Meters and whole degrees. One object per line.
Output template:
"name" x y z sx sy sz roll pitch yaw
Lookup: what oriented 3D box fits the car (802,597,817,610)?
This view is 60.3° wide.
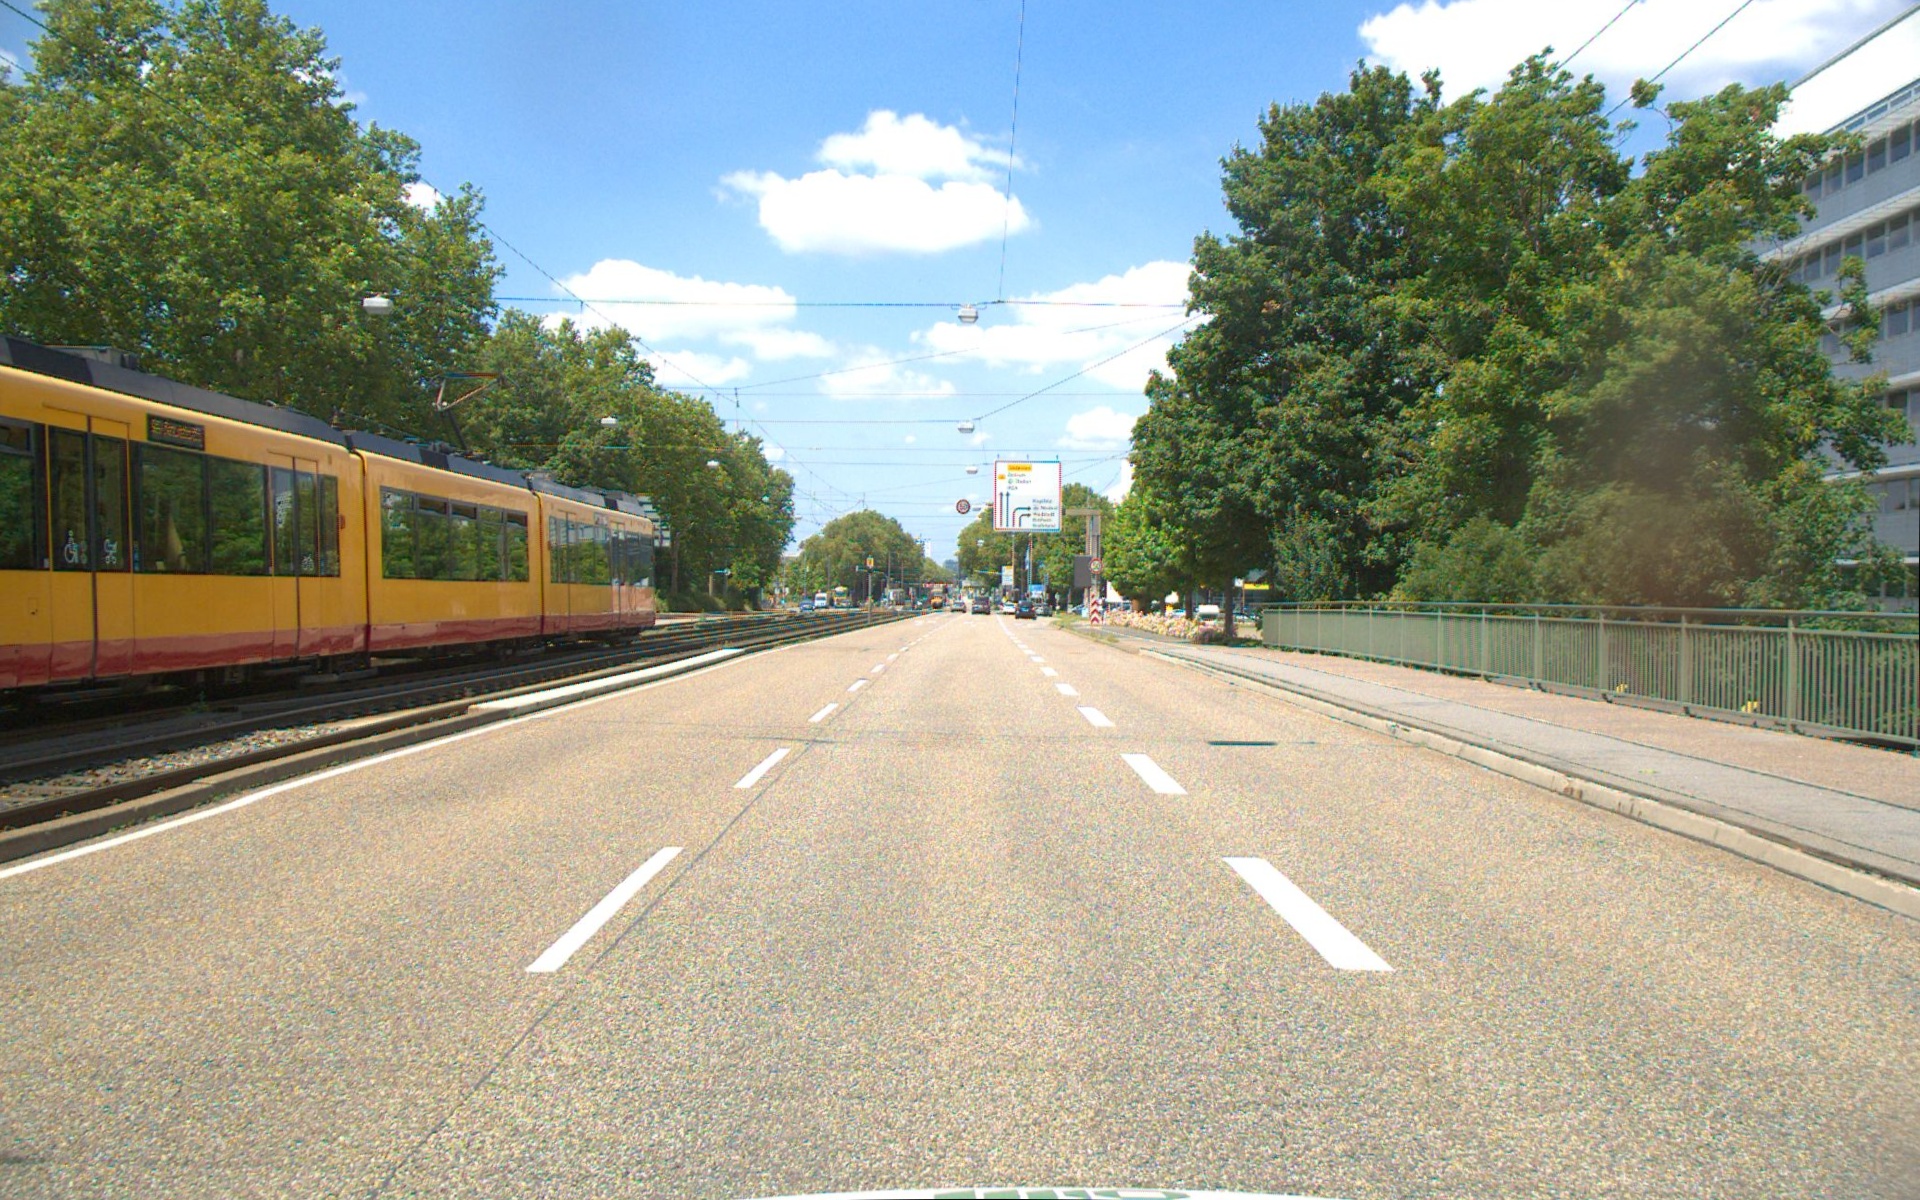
"car" -18.873 0.462 207.521 1.611 1.577 4.215 2 0 -1

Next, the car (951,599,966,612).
"car" -0.225 0.654 211.133 1.805 1.577 3.775 3 0 -2

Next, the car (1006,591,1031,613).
"car" 4.981 0.163 141.042 1.861 1.837 3.976 2 0 -1

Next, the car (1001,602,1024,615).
"car" 6.738 1.108 212.890 1.651 1.577 3.982 2 0 23

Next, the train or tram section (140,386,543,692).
"train or tram section" -9.828 -0.870 27.964 2.976 4.221 10.233 0 0 0

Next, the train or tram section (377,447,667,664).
"train or tram section" -9.737 -0.905 39.094 2.975 4.213 13.983 0 0 1

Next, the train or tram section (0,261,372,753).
"train or tram section" -9.768 -0.813 16.732 2.976 4.227 13.480 0 0 -1

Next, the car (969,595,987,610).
"car" 1.932 0.227 181.075 1.838 1.566 3.776 2 0 0
